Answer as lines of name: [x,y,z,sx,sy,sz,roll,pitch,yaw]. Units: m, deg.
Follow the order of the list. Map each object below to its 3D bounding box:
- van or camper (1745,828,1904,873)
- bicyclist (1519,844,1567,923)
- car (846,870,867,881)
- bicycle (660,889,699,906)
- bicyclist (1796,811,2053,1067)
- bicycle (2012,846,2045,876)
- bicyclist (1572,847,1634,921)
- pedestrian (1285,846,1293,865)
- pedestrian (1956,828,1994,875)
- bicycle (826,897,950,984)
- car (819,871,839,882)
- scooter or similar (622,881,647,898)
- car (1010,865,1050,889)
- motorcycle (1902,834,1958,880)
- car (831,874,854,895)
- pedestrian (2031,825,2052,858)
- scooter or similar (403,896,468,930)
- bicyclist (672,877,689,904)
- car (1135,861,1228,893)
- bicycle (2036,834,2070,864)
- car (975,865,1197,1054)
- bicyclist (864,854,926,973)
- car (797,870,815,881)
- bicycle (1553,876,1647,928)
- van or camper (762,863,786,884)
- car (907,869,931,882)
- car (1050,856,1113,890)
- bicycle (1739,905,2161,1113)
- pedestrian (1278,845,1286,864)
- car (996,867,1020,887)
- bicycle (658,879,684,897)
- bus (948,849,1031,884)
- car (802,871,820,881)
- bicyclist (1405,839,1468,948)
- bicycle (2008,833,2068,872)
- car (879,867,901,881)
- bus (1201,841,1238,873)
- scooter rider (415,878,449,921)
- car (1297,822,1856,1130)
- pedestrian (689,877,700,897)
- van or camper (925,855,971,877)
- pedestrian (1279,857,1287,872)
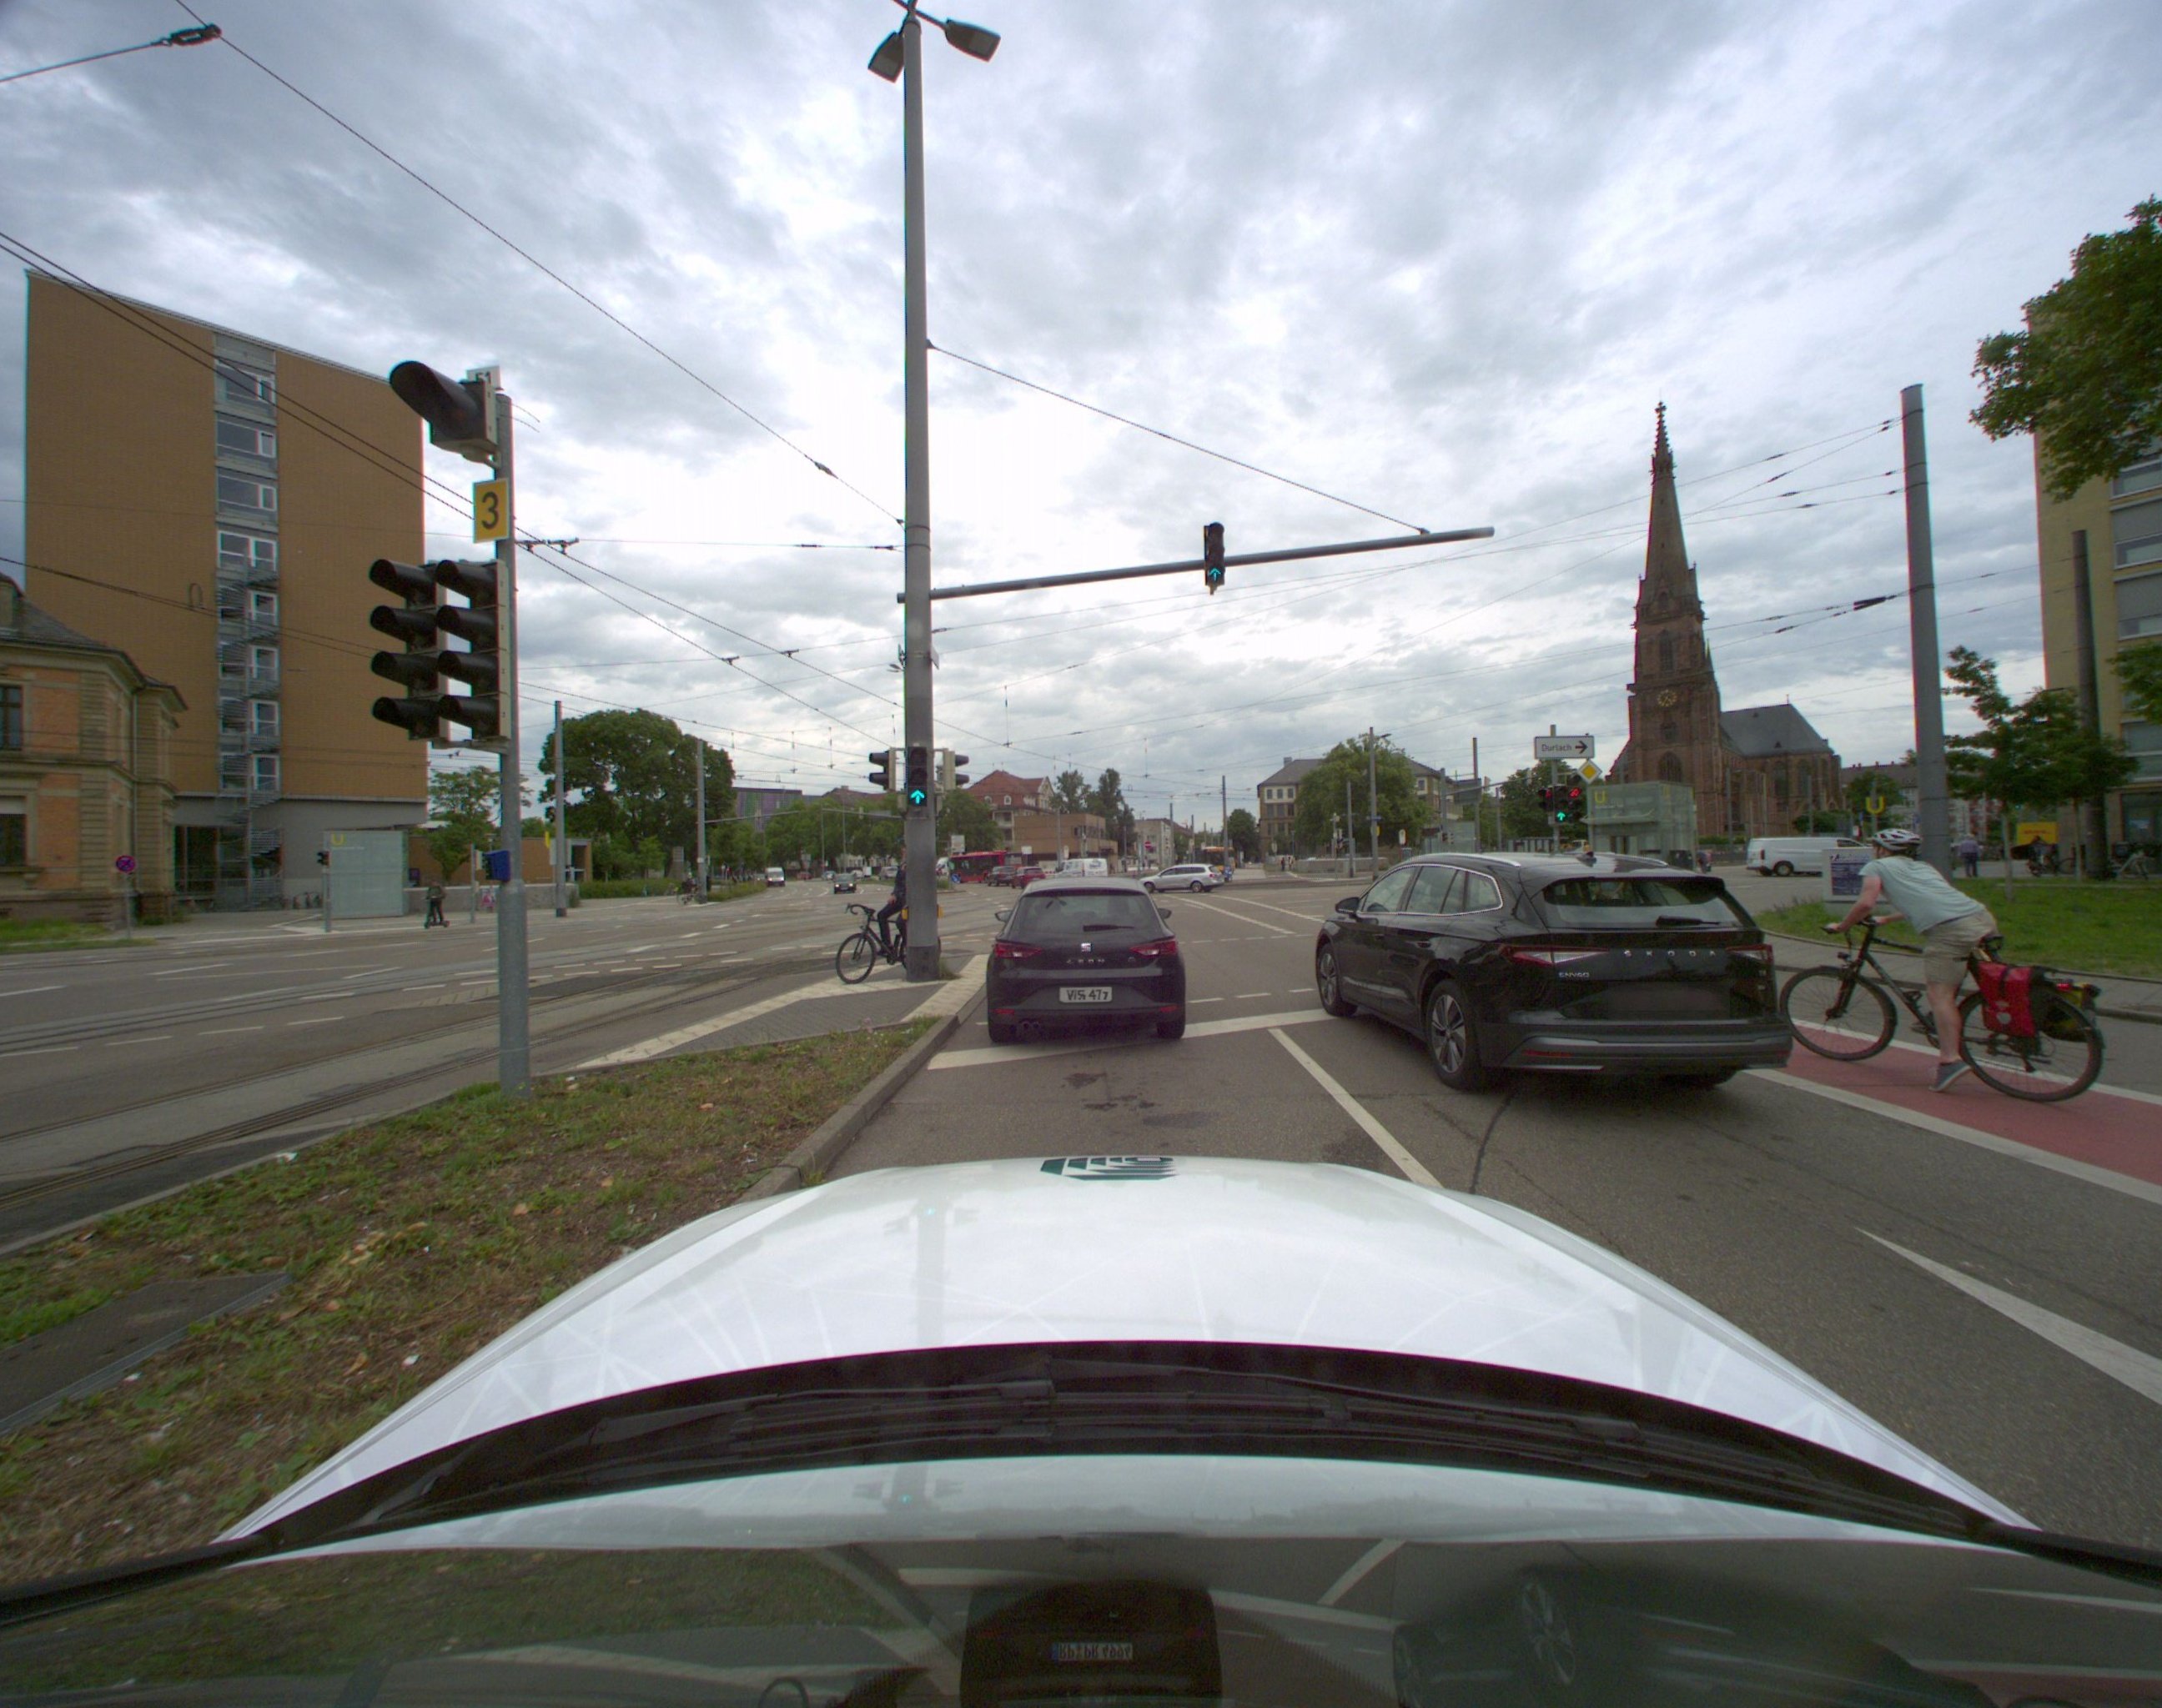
van or camper: [37.081,-0.136,40.838,5.403,1.979,2.183,-2,-1,20]
bicyclist: [10.666,0.664,18.811,0.736,1.751,0.581,-3,0,-25]
car: [-36.730,3.479,133.250,2.008,1.750,3.957,-1,-1,-35]
bicycle: [-25.794,2.808,52.336,2.117,1.028,0.791,0,1,-16]
bicyclist: [5.755,0.541,5.629,0.786,1.618,0.933,0,-1,-1]
bicycle: [40.217,0.297,34.561,2.048,1.169,0.663,-2,0,-34]
bicyclist: [11.126,0.632,17.380,0.886,1.522,0.668,-1,-1,-19]
pedestrian: [46.018,0.313,179.929,1.302,4.254,1.347,-2,-1,2]
pedestrian: [34.614,-0.094,31.539,0.910,1.737,0.805,-2,-1,-33]
bicycle: [-2.721,1.199,11.599,1.622,1.070,0.522,-1,-1,-38]
car: [-41.916,3.727,135.538,2.009,1.640,3.956,-1,-1,-35]
scooter or similar: [-36.538,2.899,66.618,1.781,1.302,0.624,-2,-1,-30]
car: [-3.762,1.645,59.574,1.863,1.600,4.178,-2,-1,-19]
motorcycle: [27.250,0.090,26.124,2.305,1.366,1.034,-2,-1,-40]
car: [-18.803,2.402,64.055,1.622,1.515,3.643,-3,0,-17]
pedestrian: [51.005,-0.663,43.250,0.829,1.715,0.610,-2,-1,-42]
scooter or similar: [-25.095,2.284,31.705,0.567,1.165,1.917,-2,-1,23]
bicyclist: [-25.725,2.335,52.354,0.814,1.656,0.789,-1,1,-16]
car: [5.387,1.235,43.661,4.570,1.482,1.736,-3,0,27]
bicycle: [40.548,-0.200,33.970,2.048,1.169,0.663,-2,0,-34]
car: [0.093,0.864,8.465,1.739,1.464,4.001,-1,-1,1]
bicyclist: [-2.661,0.830,11.662,0.658,1.639,0.512,-1,-1,-38]
car: [-49.846,3.922,147.513,2.009,1.772,3.955,-1,-1,-37]
bicycle: [11.061,1.010,17.343,1.946,0.998,0.598,-1,-1,-20]
van or camper: [-39.326,2.515,104.298,2.291,2.527,5.526,-2,0,-25]
car: [-20.865,2.750,104.751,2.005,1.539,3.963,-1,-1,-29]
car: [-0.033,1.201,51.531,2.004,2.019,4.988,-1,-1,-26]
bicycle: [5.768,0.946,5.653,0.759,1.079,2.016,0,-1,-1]
pedestrian: [44.393,0.115,180.078,1.381,4.254,1.347,-2,-1,2]
car: [-6.225,1.931,69.315,1.991,1.566,4.196,-2,-1,-6]
bicycle: [-34.911,2.893,69.336,0.842,1.449,2.258,-2,-1,7]
bus: [-9.484,1.361,82.318,3.080,3.298,12.249,-1,-1,-33]
car: [-51.770,4.224,155.894,2.010,1.750,3.954,-1,-1,-39]
bicyclist: [5.751,0.622,13.199,0.613,1.690,0.805,-2,0,-1]
bicycle: [35.854,-0.053,30.503,2.792,1.377,0.895,-2,-1,-29]
car: [-27.648,2.906,117.616,2.006,2.014,3.961,-1,-1,-30]
bus: [15.823,0.392,92.062,2.994,3.268,13.092,-2,-1,14]
scooter rider: [-25.160,1.770,31.575,0.562,1.628,0.826,-2,-1,22]
car: [3.375,0.702,6.816,1.897,1.658,4.514,-2,-1,0]
pedestrian: [-34.532,2.909,72.786,0.747,1.734,0.683,-2,0,-13]
van or camper: [-22.299,2.043,136.920,7.193,3.332,2.841,-1,-2,-43]
pedestrian: [24.541,1.252,98.942,0.817,1.853,1.026,-2,-1,17]
